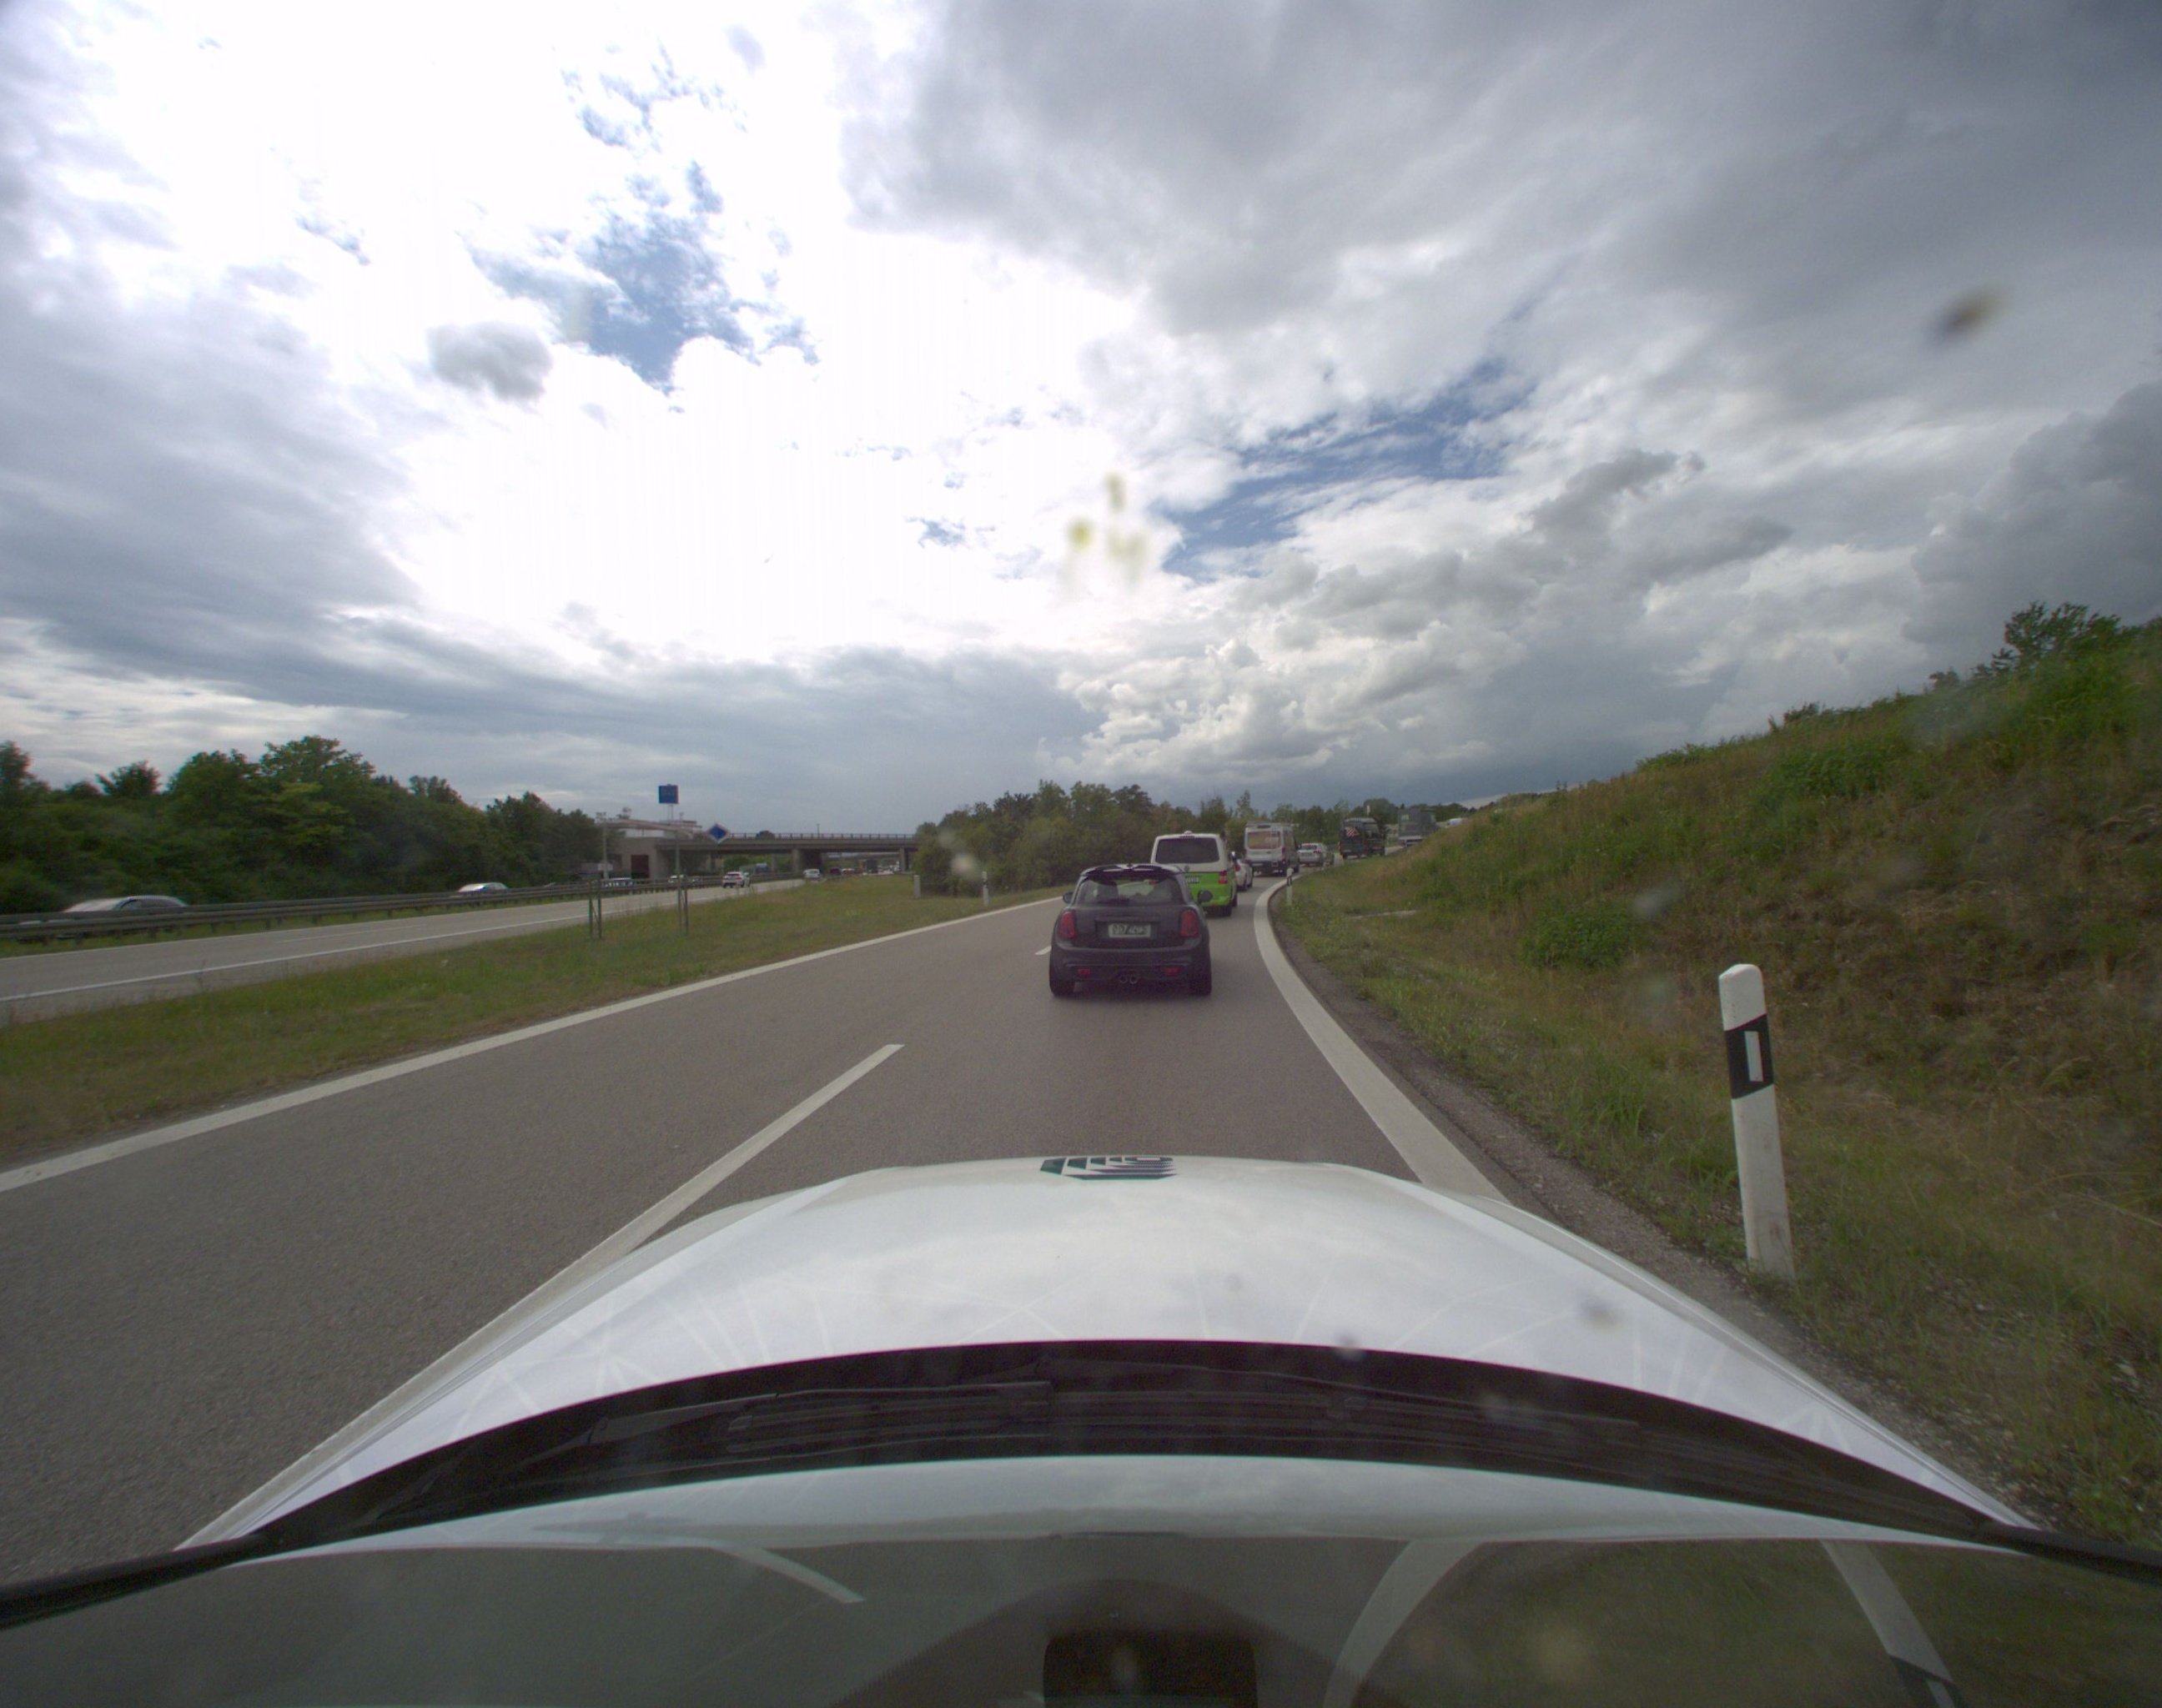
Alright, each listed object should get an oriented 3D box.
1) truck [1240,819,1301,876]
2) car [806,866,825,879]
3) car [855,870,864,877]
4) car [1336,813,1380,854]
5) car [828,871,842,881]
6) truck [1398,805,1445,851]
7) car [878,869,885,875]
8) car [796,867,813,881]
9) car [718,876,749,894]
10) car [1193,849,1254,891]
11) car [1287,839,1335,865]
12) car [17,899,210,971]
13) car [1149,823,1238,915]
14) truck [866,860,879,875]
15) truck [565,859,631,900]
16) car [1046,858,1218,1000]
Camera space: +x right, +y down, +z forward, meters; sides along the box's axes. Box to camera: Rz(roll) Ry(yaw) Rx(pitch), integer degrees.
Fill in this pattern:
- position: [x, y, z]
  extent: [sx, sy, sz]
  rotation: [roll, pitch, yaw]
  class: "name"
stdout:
- position: [9.620, -0.330, 41.003]
  extent: [2.159, 2.658, 5.136]
  rotation: [-2, 0, 21]
  class: "truck"
- position: [-31.734, 2.221, 97.410]
  extent: [1.718, 1.519, 3.983]
  rotation: [-2, -1, -12]
  class: "car"
- position: [-55.382, 4.928, 203.535]
  extent: [1.846, 1.758, 4.318]
  rotation: [-2, -1, -12]
  class: "car"
- position: [20.076, -1.423, 58.972]
  extent: [2.084, 2.796, 4.025]
  rotation: [-1, 0, 33]
  class: "car"
- position: [-46.702, 4.141, 154.426]
  extent: [1.995, 1.743, 4.810]
  rotation: [-2, -1, -11]
  class: "car"
- position: [31.117, -2.319, 74.368]
  extent: [2.207, 3.907, 6.053]
  rotation: [-2, -2, 39]
  class: "truck"
- position: [-58.134, 5.273, 237.429]
  extent: [1.876, 1.751, 4.471]
  rotation: [-2, -1, -10]
  class: "car"
- position: [-41.135, 2.971, 121.204]
  extent: [1.997, 2.014, 3.979]
  rotation: [0, -2, -15]
  class: "car"
- position: [-32.296, 2.864, 75.869]
  extent: [1.838, 1.453, 4.359]
  rotation: [-2, -1, -13]
  class: "car"
- position: [5.272, 0.554, 29.737]
  extent: [1.749, 1.399, 3.741]
  rotation: [-2, -1, 16]
  class: "car"
- position: [14.202, -0.129, 50.074]
  extent: [1.848, 1.510, 4.025]
  rotation: [-2, -1, 31]
  class: "car"
- position: [-32.344, 2.630, 27.453]
  extent: [1.925, 2.014, 4.202]
  rotation: [-2, -1, -10]
  class: "car"
- position: [2.858, 0.365, 19.997]
  extent: [1.772, 2.014, 4.014]
  rotation: [-1, -1, 13]
  class: "car"
- position: [-50.068, 3.327, 195.575]
  extent: [2.469, 3.371, 7.891]
  rotation: [-2, -1, -11]
  class: "truck"
- position: [-46.371, 2.406, 78.492]
  extent: [2.760, 3.646, 8.165]
  rotation: [-2, -1, -11]
  class: "truck"
- position: [0.708, 0.784, 10.095]
  extent: [1.718, 1.413, 3.731]
  rotation: [-1, -1, 6]
  class: "car"
